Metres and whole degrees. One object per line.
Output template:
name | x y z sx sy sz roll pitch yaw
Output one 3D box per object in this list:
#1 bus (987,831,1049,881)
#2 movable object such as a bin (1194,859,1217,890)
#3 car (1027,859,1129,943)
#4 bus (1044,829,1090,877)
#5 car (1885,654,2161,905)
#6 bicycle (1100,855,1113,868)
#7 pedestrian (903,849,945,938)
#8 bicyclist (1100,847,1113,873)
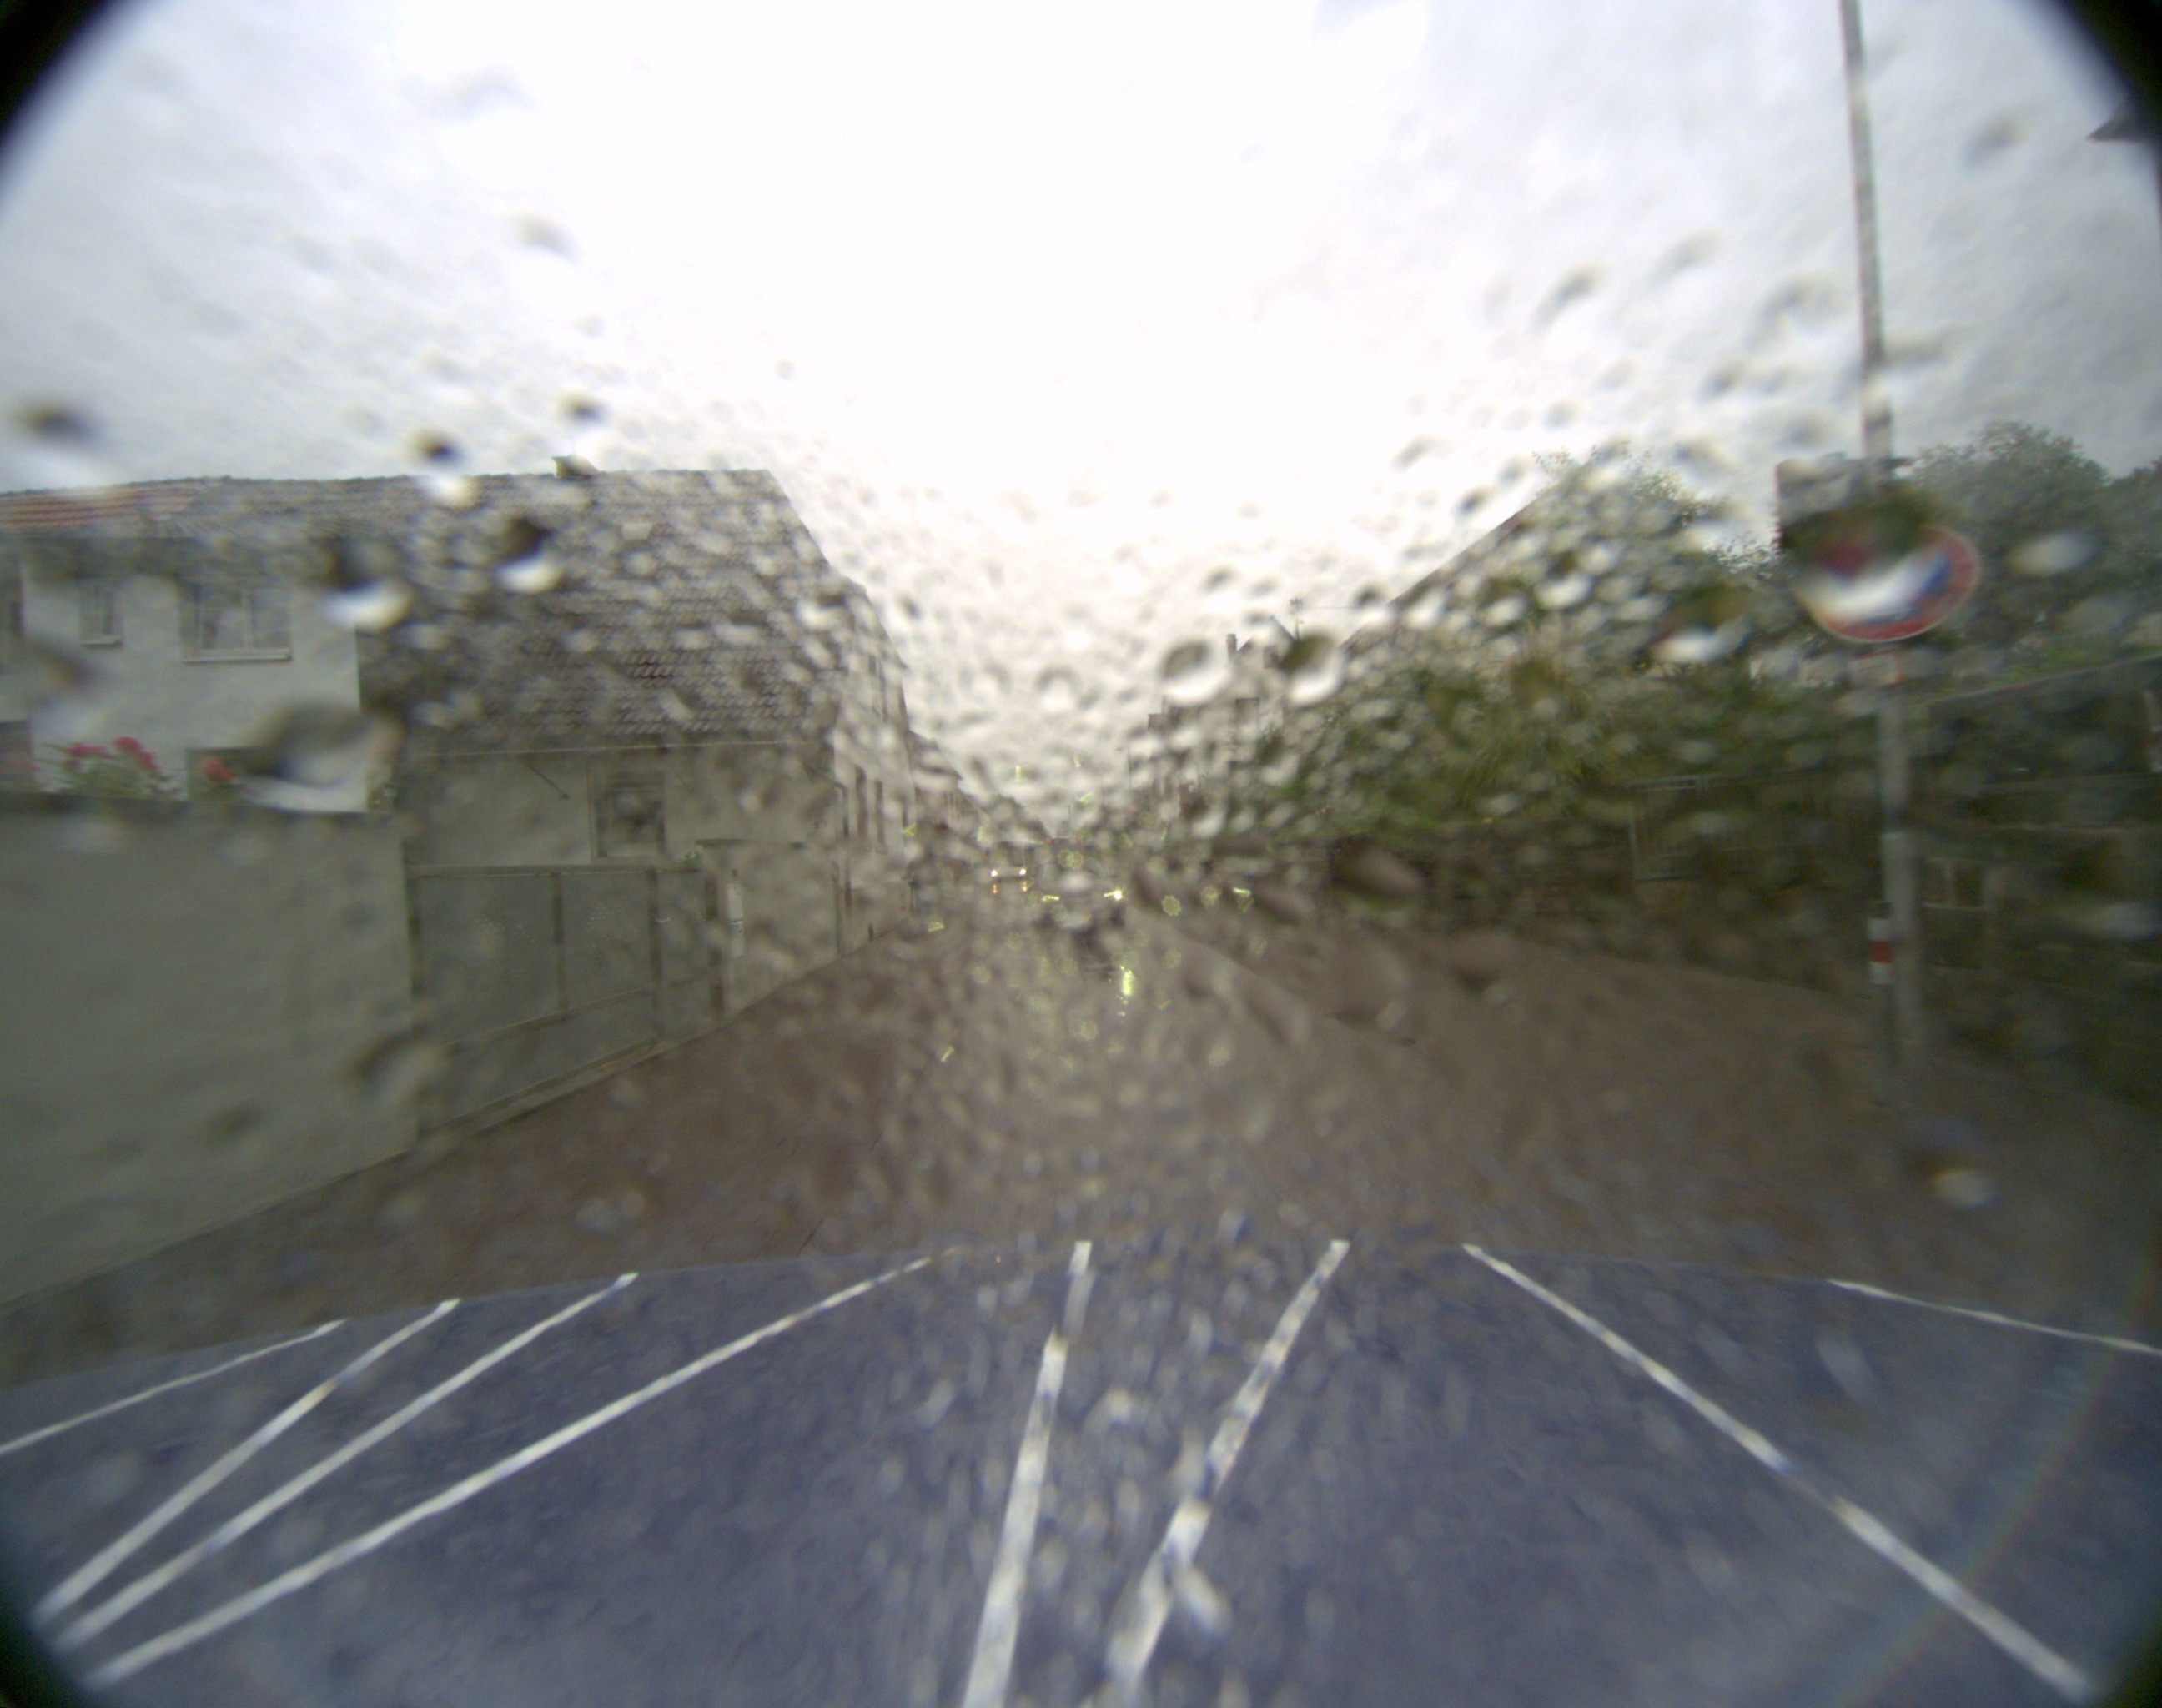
bus | -4.808 0.102 61.497 3.440 3.392 13.869 -3 1 1
movable object such as a bin | 3.943 0.642 24.119 0.539 0.925 0.544 -5 2 -6
car | -0.187 0.882 16.146 1.780 1.348 4.186 -5 1 -4
bus | -0.890 -0.084 55.586 2.813 2.922 11.940 -4 0 0
car | 10.656 -0.940 7.087 3.997 1.954 1.999 -11 1 -1
bicycle | 1.792 0.544 53.376 0.663 0.865 1.934 -5 -1 -4
pedestrian | -3.138 0.770 15.268 0.696 1.722 0.820 -1 1 -4
bicyclist | 1.779 0.450 53.364 0.658 1.759 0.703 -5 -1 -4
